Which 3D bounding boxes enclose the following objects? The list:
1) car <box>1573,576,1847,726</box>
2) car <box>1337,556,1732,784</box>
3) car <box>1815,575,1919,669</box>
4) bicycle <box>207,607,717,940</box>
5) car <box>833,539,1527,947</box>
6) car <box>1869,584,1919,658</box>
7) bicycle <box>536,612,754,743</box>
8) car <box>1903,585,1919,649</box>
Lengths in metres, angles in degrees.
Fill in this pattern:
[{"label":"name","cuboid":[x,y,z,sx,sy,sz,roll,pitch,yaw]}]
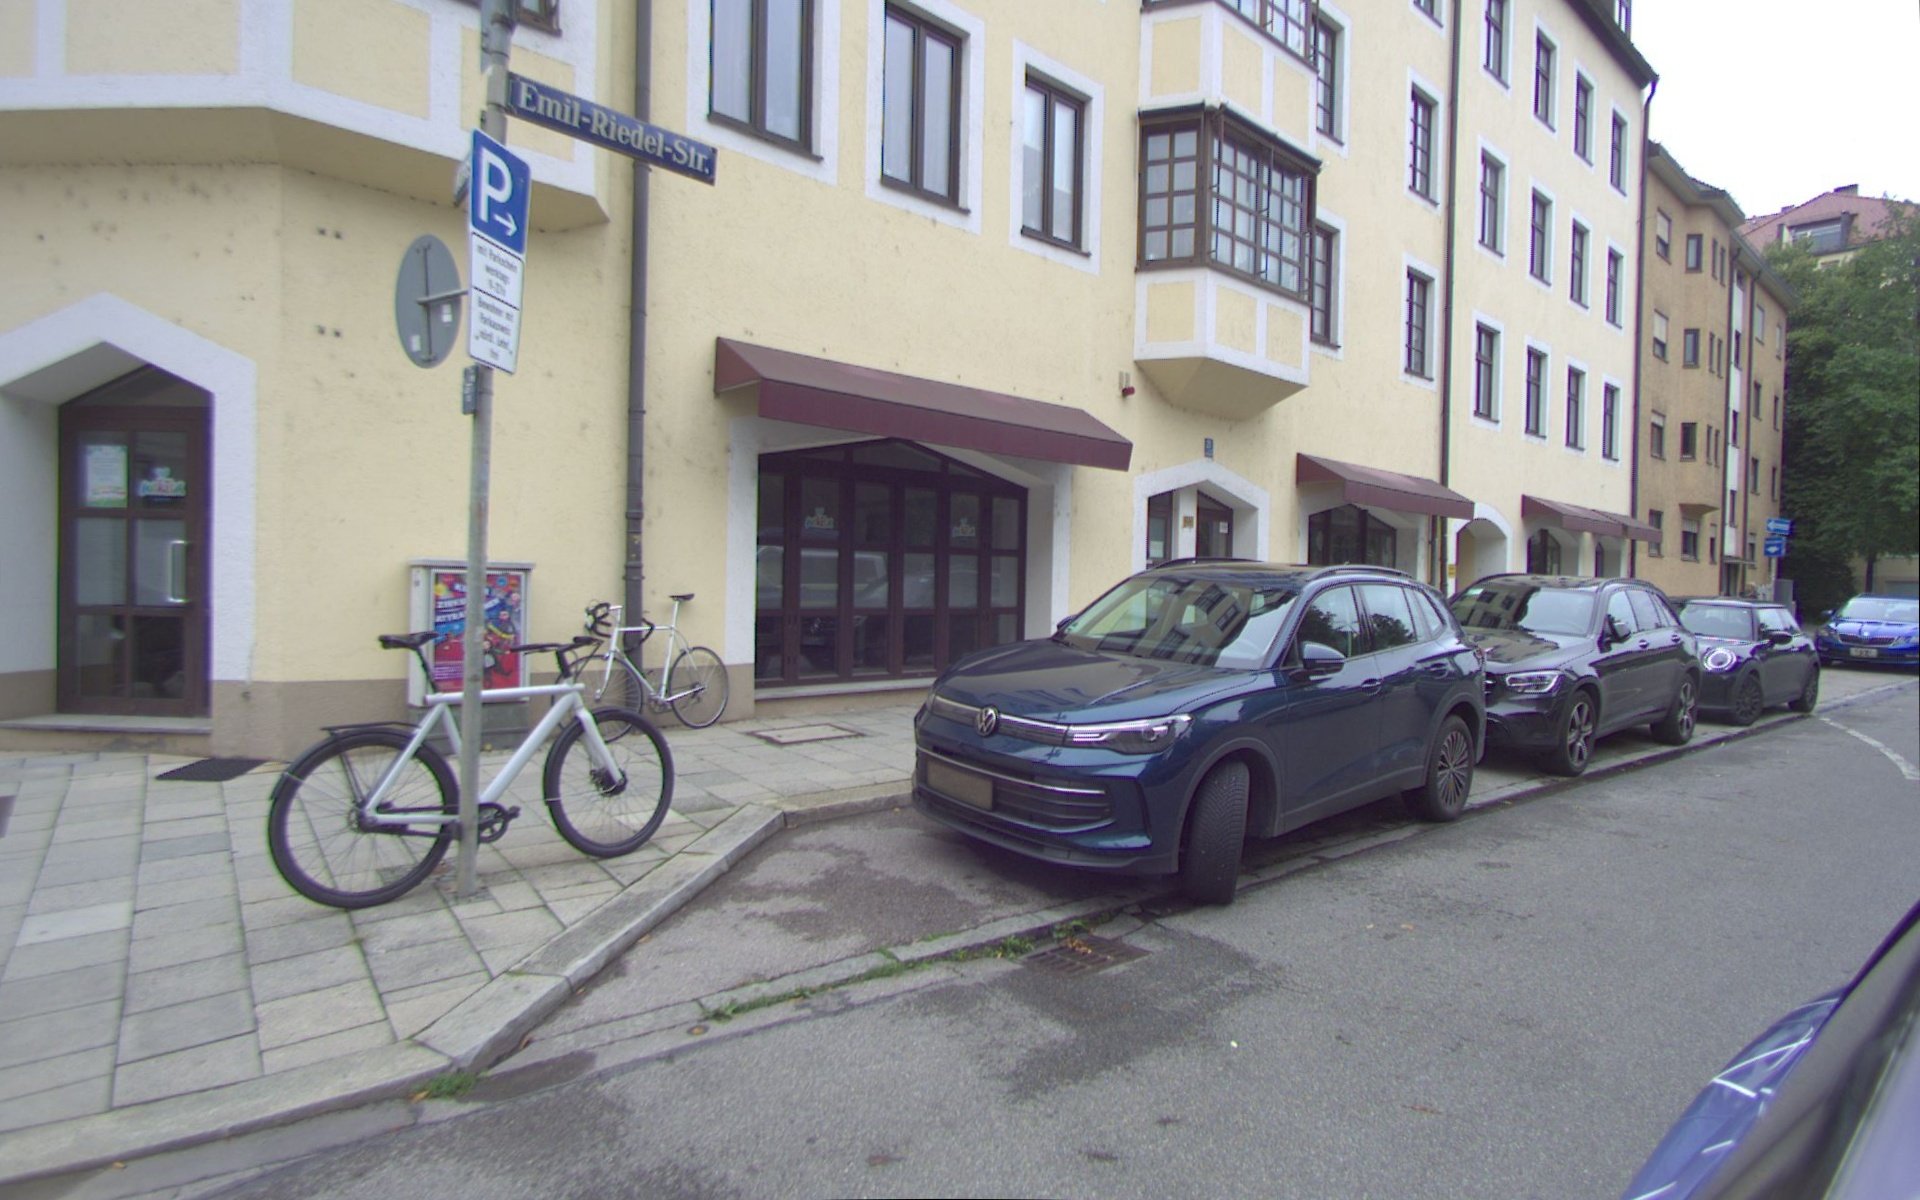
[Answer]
[{"label":"car","cuboid":[9.539,0.528,12.779,3.860,1.541,1.765,0,3,-38]},{"label":"car","cuboid":[5.589,0.484,9.661,4.089,1.607,1.819,-1,6,-39]},{"label":"car","cuboid":[19.423,0.395,20.690,5.515,1.672,1.884,0,3,-39]},{"label":"bicycle","cuboid":[-2.119,0.648,4.562,2.018,1.173,0.430,-1,3,-42]},{"label":"car","cuboid":[1.628,0.537,6.362,4.420,1.642,2.109,0,2,-43]},{"label":"car","cuboid":[23.328,0.471,24.061,4.533,1.673,1.882,0,0,-39]},{"label":"bicycle","cuboid":[-2.462,0.576,8.048,1.666,0.912,0.262,-1,6,-41]},{"label":"car","cuboid":[26.963,0.443,27.176,4.503,1.673,1.882,0,0,-40]}]
